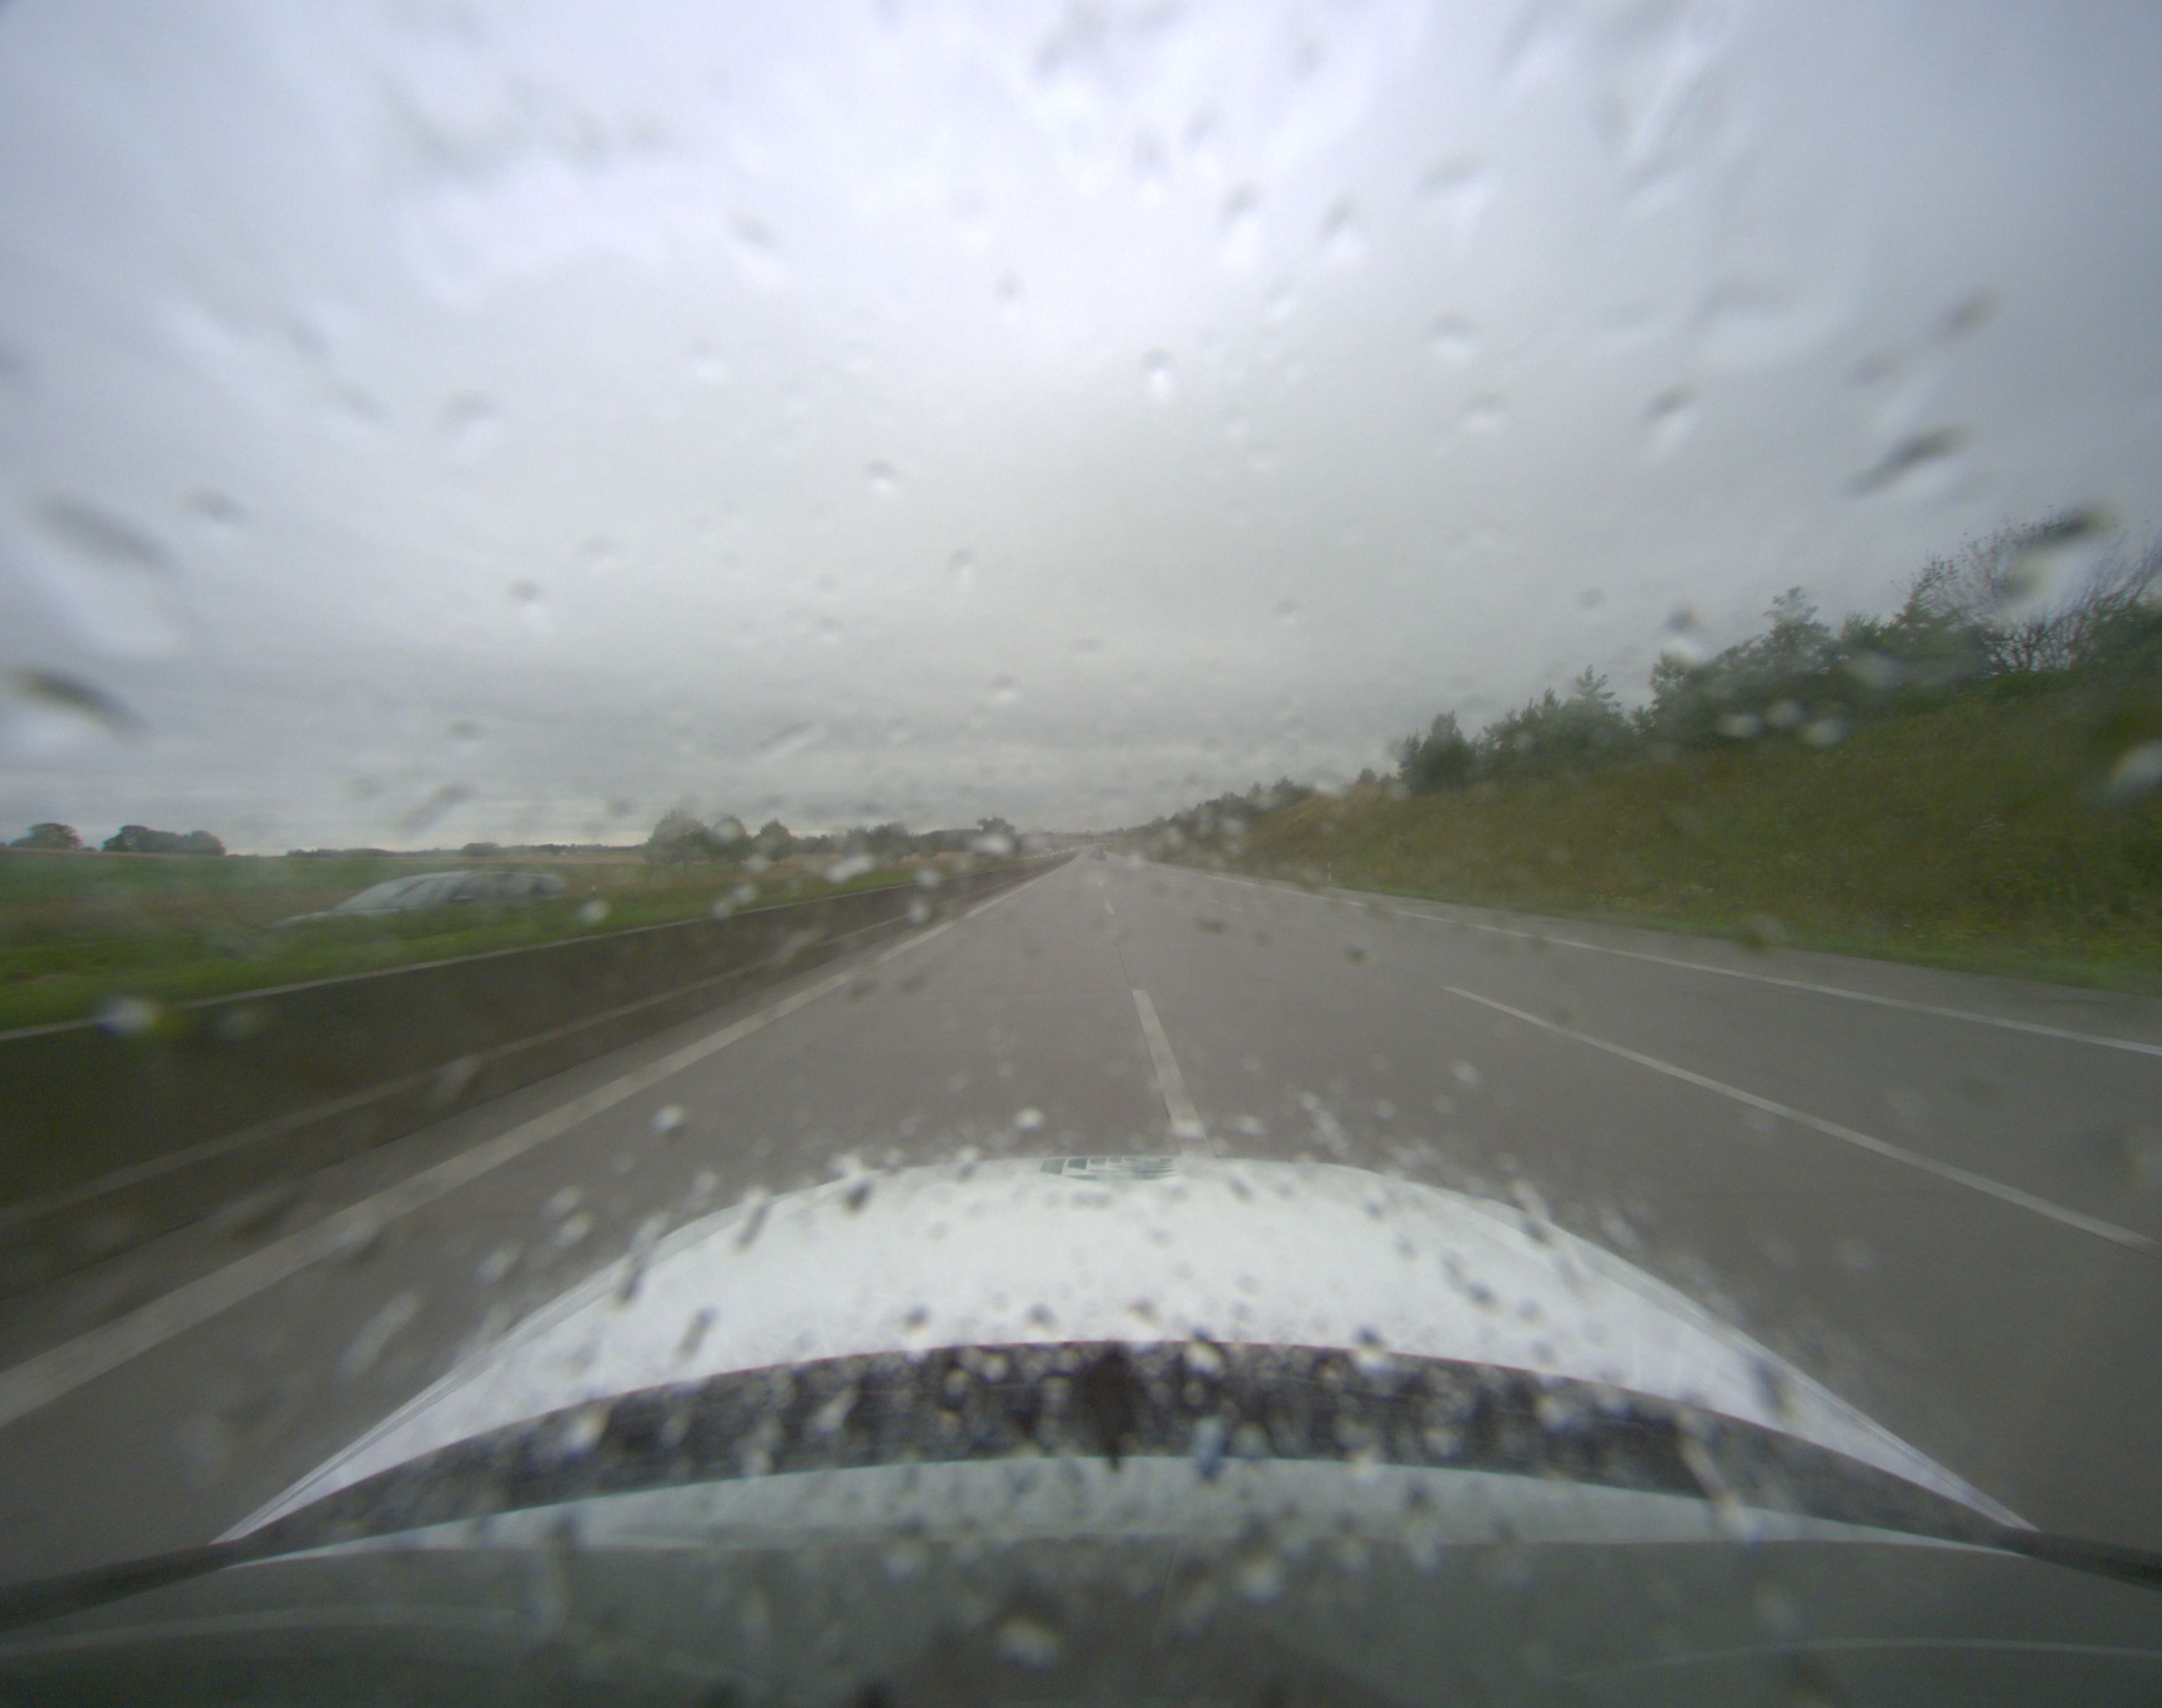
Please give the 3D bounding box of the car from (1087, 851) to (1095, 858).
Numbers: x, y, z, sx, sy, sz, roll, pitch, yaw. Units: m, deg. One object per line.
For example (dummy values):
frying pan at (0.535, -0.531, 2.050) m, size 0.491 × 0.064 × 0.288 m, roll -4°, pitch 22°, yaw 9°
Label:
car at (2.343, 0.135, 189.142) m, size 1.723 × 1.331 × 4.431 m, roll -1°, pitch 2°, yaw 1°

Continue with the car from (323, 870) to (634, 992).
car at (-9.302, 1.077, 13.138) m, size 1.725 × 1.537 × 4.365 m, roll -1°, pitch 0°, yaw 0°

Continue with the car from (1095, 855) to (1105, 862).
car at (3.740, 0.856, 161.240) m, size 1.842 × 1.331 × 4.429 m, roll -1°, pitch 2°, yaw -1°
